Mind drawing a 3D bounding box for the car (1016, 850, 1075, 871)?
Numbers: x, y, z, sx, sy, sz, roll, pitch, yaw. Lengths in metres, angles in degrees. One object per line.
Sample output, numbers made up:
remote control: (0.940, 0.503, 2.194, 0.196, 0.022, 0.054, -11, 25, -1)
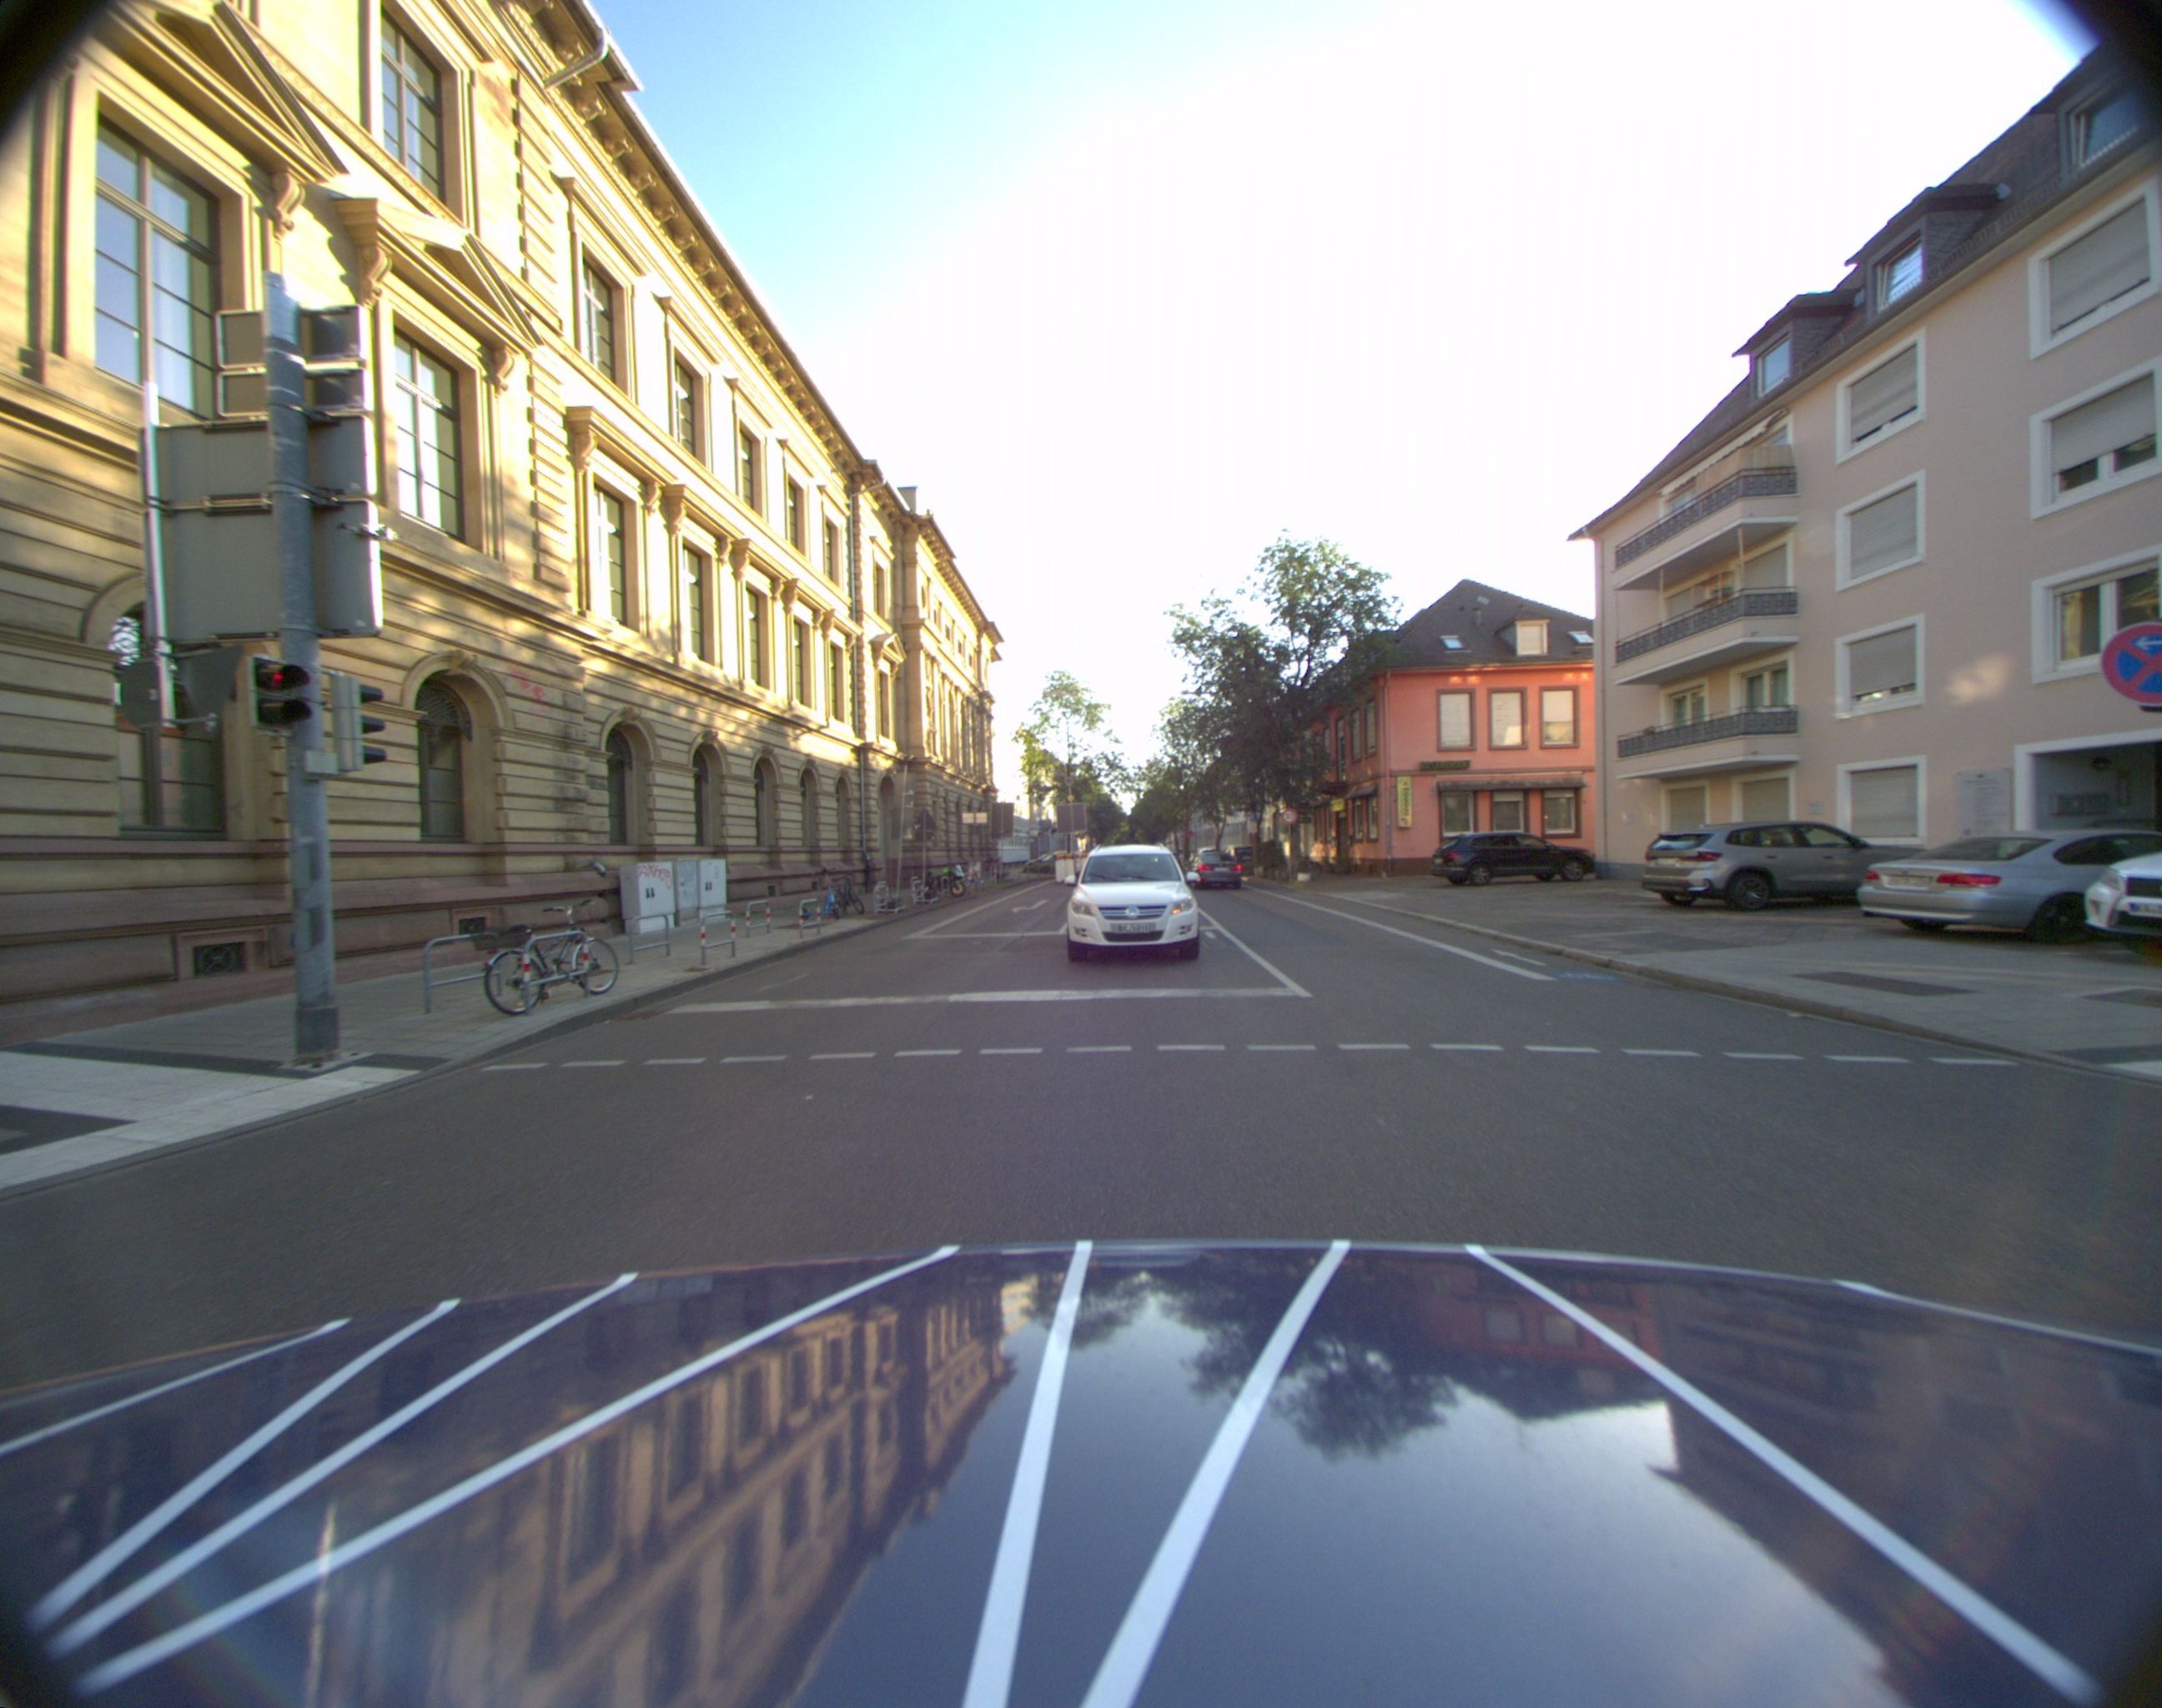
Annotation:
car: (-2.655, 0.487, 57.934, 4.368, 1.456, 1.833, 1, 1, -1)

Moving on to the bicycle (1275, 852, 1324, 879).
bicycle: (9.245, 0.486, 32.219, 1.871, 1.098, 0.610, -2, 1, -3)

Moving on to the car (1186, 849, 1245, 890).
car: (5.244, 0.556, 30.137, 1.786, 1.451, 4.423, -1, 1, 3)

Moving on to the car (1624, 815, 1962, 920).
car: (13.149, 0.236, 14.280, 4.429, 1.596, 1.916, -3, 1, 2)

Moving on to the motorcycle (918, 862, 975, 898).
motorcycle: (-4.905, 0.917, 27.690, 2.098, 1.208, 0.711, 1, 1, 33)

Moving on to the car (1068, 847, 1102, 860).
car: (0.531, -0.089, 100.768, 4.367, 1.768, 1.733, 0, 1, 1)

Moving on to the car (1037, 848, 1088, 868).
car: (-1.566, 0.321, 66.982, 4.367, 1.633, 2.054, 1, 1, 1)

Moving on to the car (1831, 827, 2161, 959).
car: (12.755, 0.441, 9.829, 4.276, 1.372, 1.736, -3, 0, 2)

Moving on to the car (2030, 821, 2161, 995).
car: (12.512, 0.412, 7.197, 4.451, 1.631, 1.942, -3, 1, 2)

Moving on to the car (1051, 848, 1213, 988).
car: (0.763, 0.783, 11.640, 1.956, 1.667, 4.543, -1, 1, 4)

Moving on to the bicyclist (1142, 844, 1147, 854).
bicyclist: (8.915, -0.699, 106.233, 0.626, 1.357, 0.929, -1, 2, 3)

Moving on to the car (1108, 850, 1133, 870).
car: (3.301, 0.457, 63.671, 1.951, 1.546, 4.000, -1, 0, 2)

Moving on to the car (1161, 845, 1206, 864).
car: (10.133, 0.046, 75.273, 4.229, 1.680, 1.801, -1, 1, 1)

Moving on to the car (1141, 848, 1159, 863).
car: (7.225, 0.168, 79.917, 1.662, 1.463, 3.854, -1, 0, 1)

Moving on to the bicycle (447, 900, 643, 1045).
bicycle: (-5.640, 1.189, 8.168, 0.583, 1.182, 1.920, -1, 2, 4)

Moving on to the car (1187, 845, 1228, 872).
car: (8.907, 0.257, 53.828, 1.833, 1.658, 4.655, -5, 1, -3)

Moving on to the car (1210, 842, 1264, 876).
car: (9.213, 0.280, 45.367, 1.833, 1.749, 5.046, -5, 1, -3)

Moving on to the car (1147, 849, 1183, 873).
car: (5.519, 0.435, 50.249, 1.835, 1.536, 4.847, 0, 0, 0)

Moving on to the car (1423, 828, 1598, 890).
car: (13.502, 0.144, 24.104, 4.429, 1.655, 1.864, -3, 1, 2)

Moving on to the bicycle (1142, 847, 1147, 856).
bicycle: (8.929, -0.385, 106.304, 0.626, 1.149, 2.052, -1, 2, 4)

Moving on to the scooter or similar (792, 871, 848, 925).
scooter or similar: (-6.064, 1.004, 17.666, 1.131, 1.188, 0.585, 1, 2, 22)

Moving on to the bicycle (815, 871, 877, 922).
bicycle: (-5.865, 1.034, 19.084, 0.829, 1.128, 1.944, 1, 1, 4)
